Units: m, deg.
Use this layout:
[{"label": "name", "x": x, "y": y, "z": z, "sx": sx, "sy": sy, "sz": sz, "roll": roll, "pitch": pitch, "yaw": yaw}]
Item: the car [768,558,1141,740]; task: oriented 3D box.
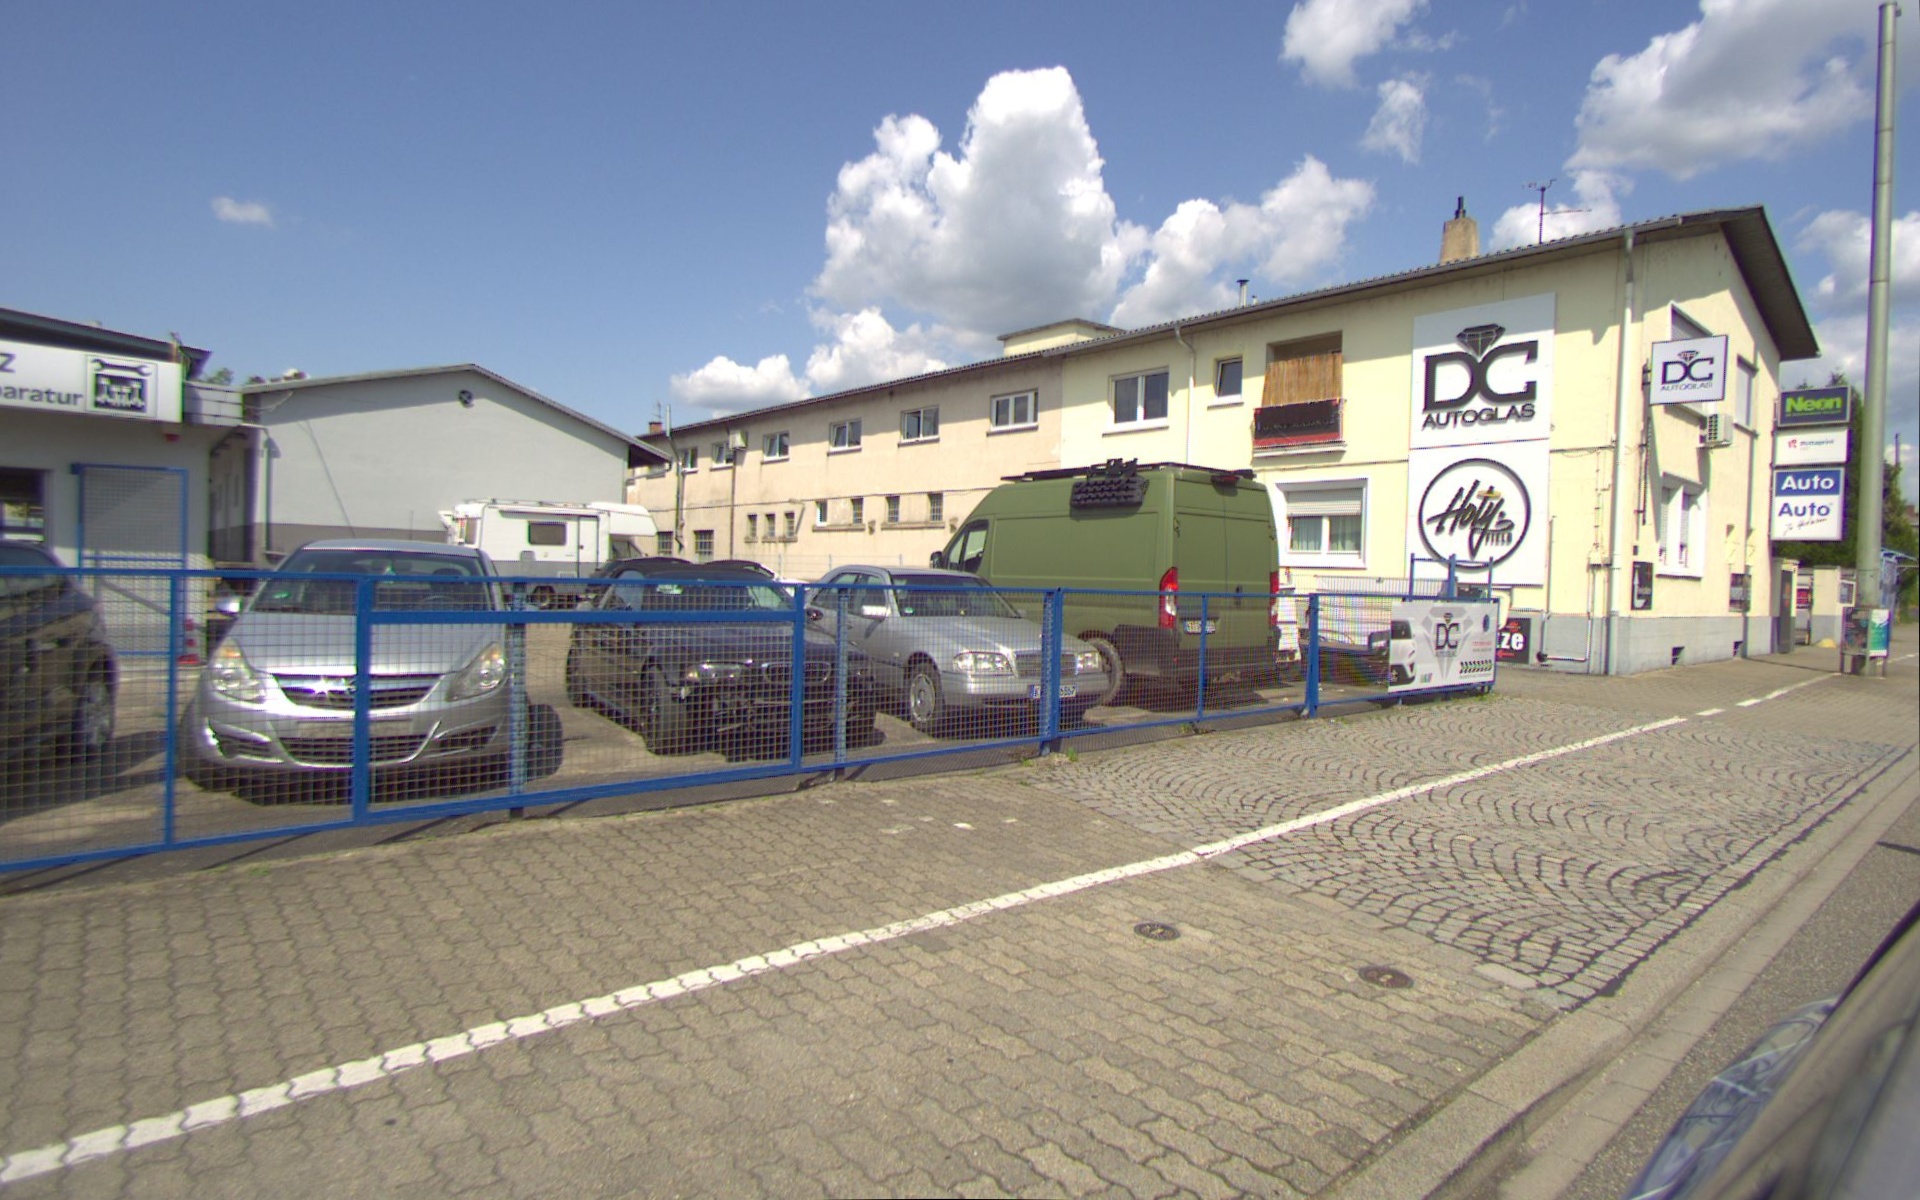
[{"label": "car", "x": -0.292, "y": 0.317, "z": 10.211, "sx": 1.768, "sy": 1.413, "sz": 4.216, "roll": 1, "pitch": 2, "yaw": -33}]

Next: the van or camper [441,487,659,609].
[{"label": "van or camper", "x": -11.004, "y": -1.325, "z": 27.374, "sx": 4.971, "sy": 2.999, "sz": 2.284, "roll": 0, "pitch": 2, "yaw": -42}]

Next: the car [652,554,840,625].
[{"label": "car", "x": -4.922, "y": -0.248, "z": 23.525, "sx": 3.939, "sy": 1.497, "sz": 1.719, "roll": 0, "pitch": 2, "yaw": -41}]

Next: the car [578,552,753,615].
[{"label": "car", "x": -7.476, "y": -0.412, "z": 25.895, "sx": 3.939, "sy": 1.497, "sz": 1.719, "roll": 0, "pitch": 2, "yaw": -41}]

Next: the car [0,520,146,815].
[{"label": "car", "x": -5.743, "y": 0.321, "z": 5.040, "sx": 1.685, "sy": 1.497, "sz": 4.012, "roll": 1, "pitch": 2, "yaw": -25}]

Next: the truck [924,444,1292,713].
[{"label": "truck", "x": 1.612, "y": -0.287, "z": 12.139, "sx": 2.033, "sy": 2.639, "sz": 3.996, "roll": 1, "pitch": 2, "yaw": -40}]

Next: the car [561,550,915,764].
[{"label": "car", "x": -2.121, "y": 0.307, "z": 8.752, "sx": 1.768, "sy": 1.403, "sz": 3.837, "roll": 1, "pitch": 2, "yaw": -32}]

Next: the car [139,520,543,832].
[{"label": "car", "x": -3.947, "y": 0.299, "z": 7.108, "sx": 1.766, "sy": 1.497, "sz": 4.158, "roll": 1, "pitch": 2, "yaw": -24}]

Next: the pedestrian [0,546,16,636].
[{"label": "pedestrian", "x": -13.255, "y": -0.130, "z": 13.847, "sx": 0.479, "sy": 1.228, "sz": 0.501, "roll": 1, "pitch": 1, "yaw": -42}]

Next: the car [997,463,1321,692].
[{"label": "car", "x": 2.616, "y": -0.348, "z": 14.149, "sx": 1.771, "sy": 2.702, "sz": 4.208, "roll": 1, "pitch": 2, "yaw": -40}]

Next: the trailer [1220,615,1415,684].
[{"label": "trailer", "x": 5.086, "y": 0.667, "z": 14.534, "sx": 1.245, "sy": 0.776, "sz": 2.330, "roll": 0, "pitch": 2, "yaw": -39}]
